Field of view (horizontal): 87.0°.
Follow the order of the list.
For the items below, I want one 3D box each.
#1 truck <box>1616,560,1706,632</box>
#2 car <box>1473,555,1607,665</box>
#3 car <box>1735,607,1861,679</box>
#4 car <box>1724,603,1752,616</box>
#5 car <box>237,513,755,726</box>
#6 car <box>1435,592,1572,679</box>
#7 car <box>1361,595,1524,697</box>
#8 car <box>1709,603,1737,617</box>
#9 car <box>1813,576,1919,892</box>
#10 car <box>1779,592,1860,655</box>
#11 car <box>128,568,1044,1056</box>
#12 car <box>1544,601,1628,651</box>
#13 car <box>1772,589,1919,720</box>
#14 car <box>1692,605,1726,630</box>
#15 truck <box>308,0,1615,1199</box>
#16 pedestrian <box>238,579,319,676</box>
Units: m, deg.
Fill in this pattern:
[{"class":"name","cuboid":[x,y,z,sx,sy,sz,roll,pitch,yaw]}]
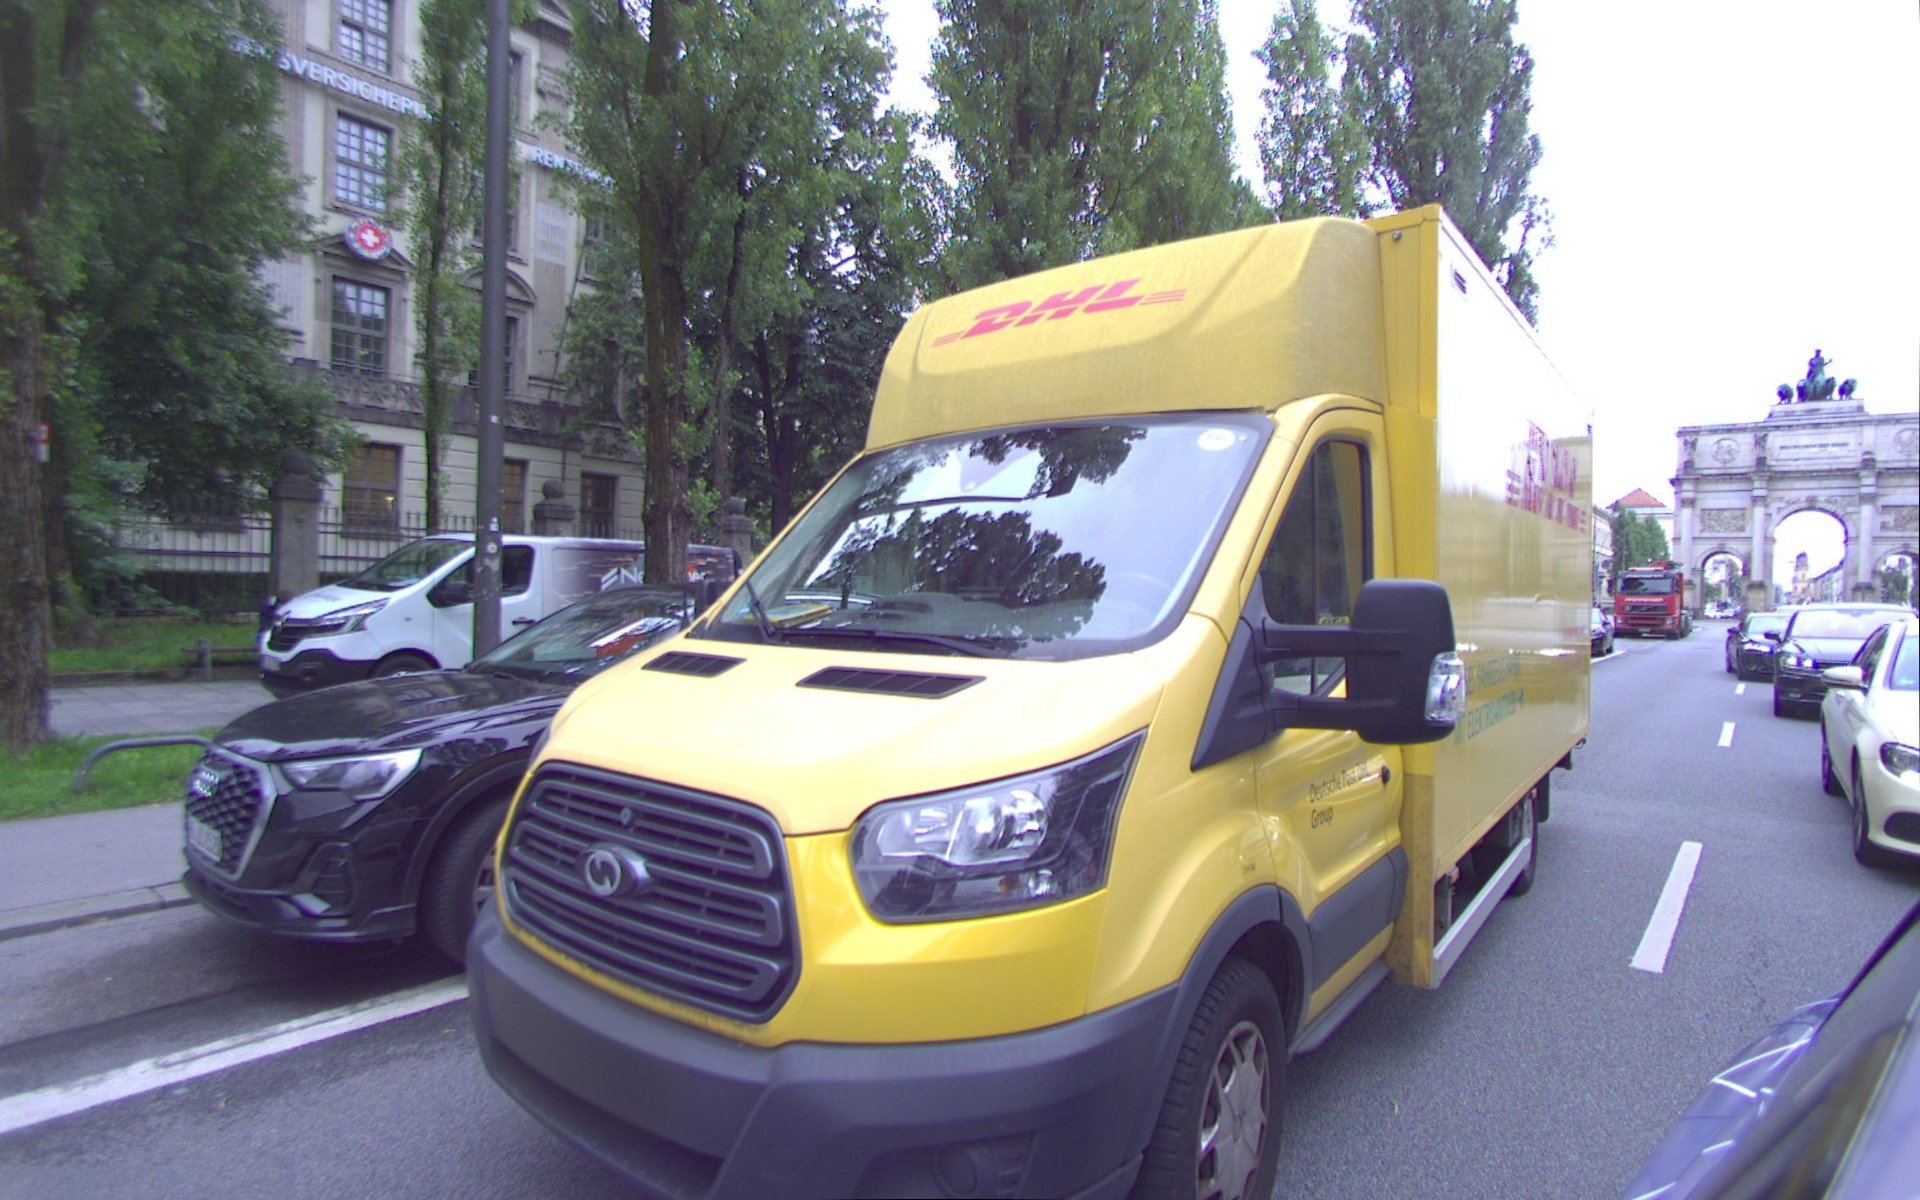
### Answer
[{"class":"truck","cuboid":[34.270,-0.184,49.285,2.710,3.149,10.276,2,1,39]},{"class":"car","cuboid":[15.100,0.233,26.124,2.071,2.510,6.195,0,0,39]},{"class":"car","cuboid":[18.026,0.854,21.935,1.913,1.345,4.351,-1,0,38]},{"class":"car","cuboid":[108.681,1.323,141.357,4.237,1.772,1.789,1,1,-34]},{"class":"car","cuboid":[-5.110,0.157,11.950,1.990,1.949,5.250,1,1,38]},{"class":"car","cuboid":[11.444,0.654,21.169,1.818,1.610,4.164,1,0,39]},{"class":"car","cuboid":[8.347,0.691,17.329,1.648,1.522,4.056,0,0,39]},{"class":"car","cuboid":[104.503,1.355,138.589,4.237,1.772,1.789,1,1,-35]},{"class":"car","cuboid":[6.893,0.661,6.445,1.909,1.595,4.627,-1,0,37]},{"class":"car","cuboid":[28.096,0.714,33.150,1.883,1.880,4.250,1,1,40]},{"class":"car","cuboid":[-1.493,0.642,5.349,1.723,1.514,4.261,1,1,40]},{"class":"car","cuboid":[19.616,0.780,31.630,1.751,1.468,3.944,-1,-1,39]},{"class":"car","cuboid":[13.084,0.681,14.729,1.945,1.645,4.349,-1,0,39]},{"class":"car","cuboid":[53.704,1.213,72.568,1.800,1.649,3.944,2,1,38]},{"class":"truck","cuboid":[1.373,-0.001,4.869,2.323,2.934,7.231,1,1,38]},{"class":"pedestrian","cuboid":[-8.495,0.324,12.614,0.715,1.156,0.701,1,1,-45]}]
